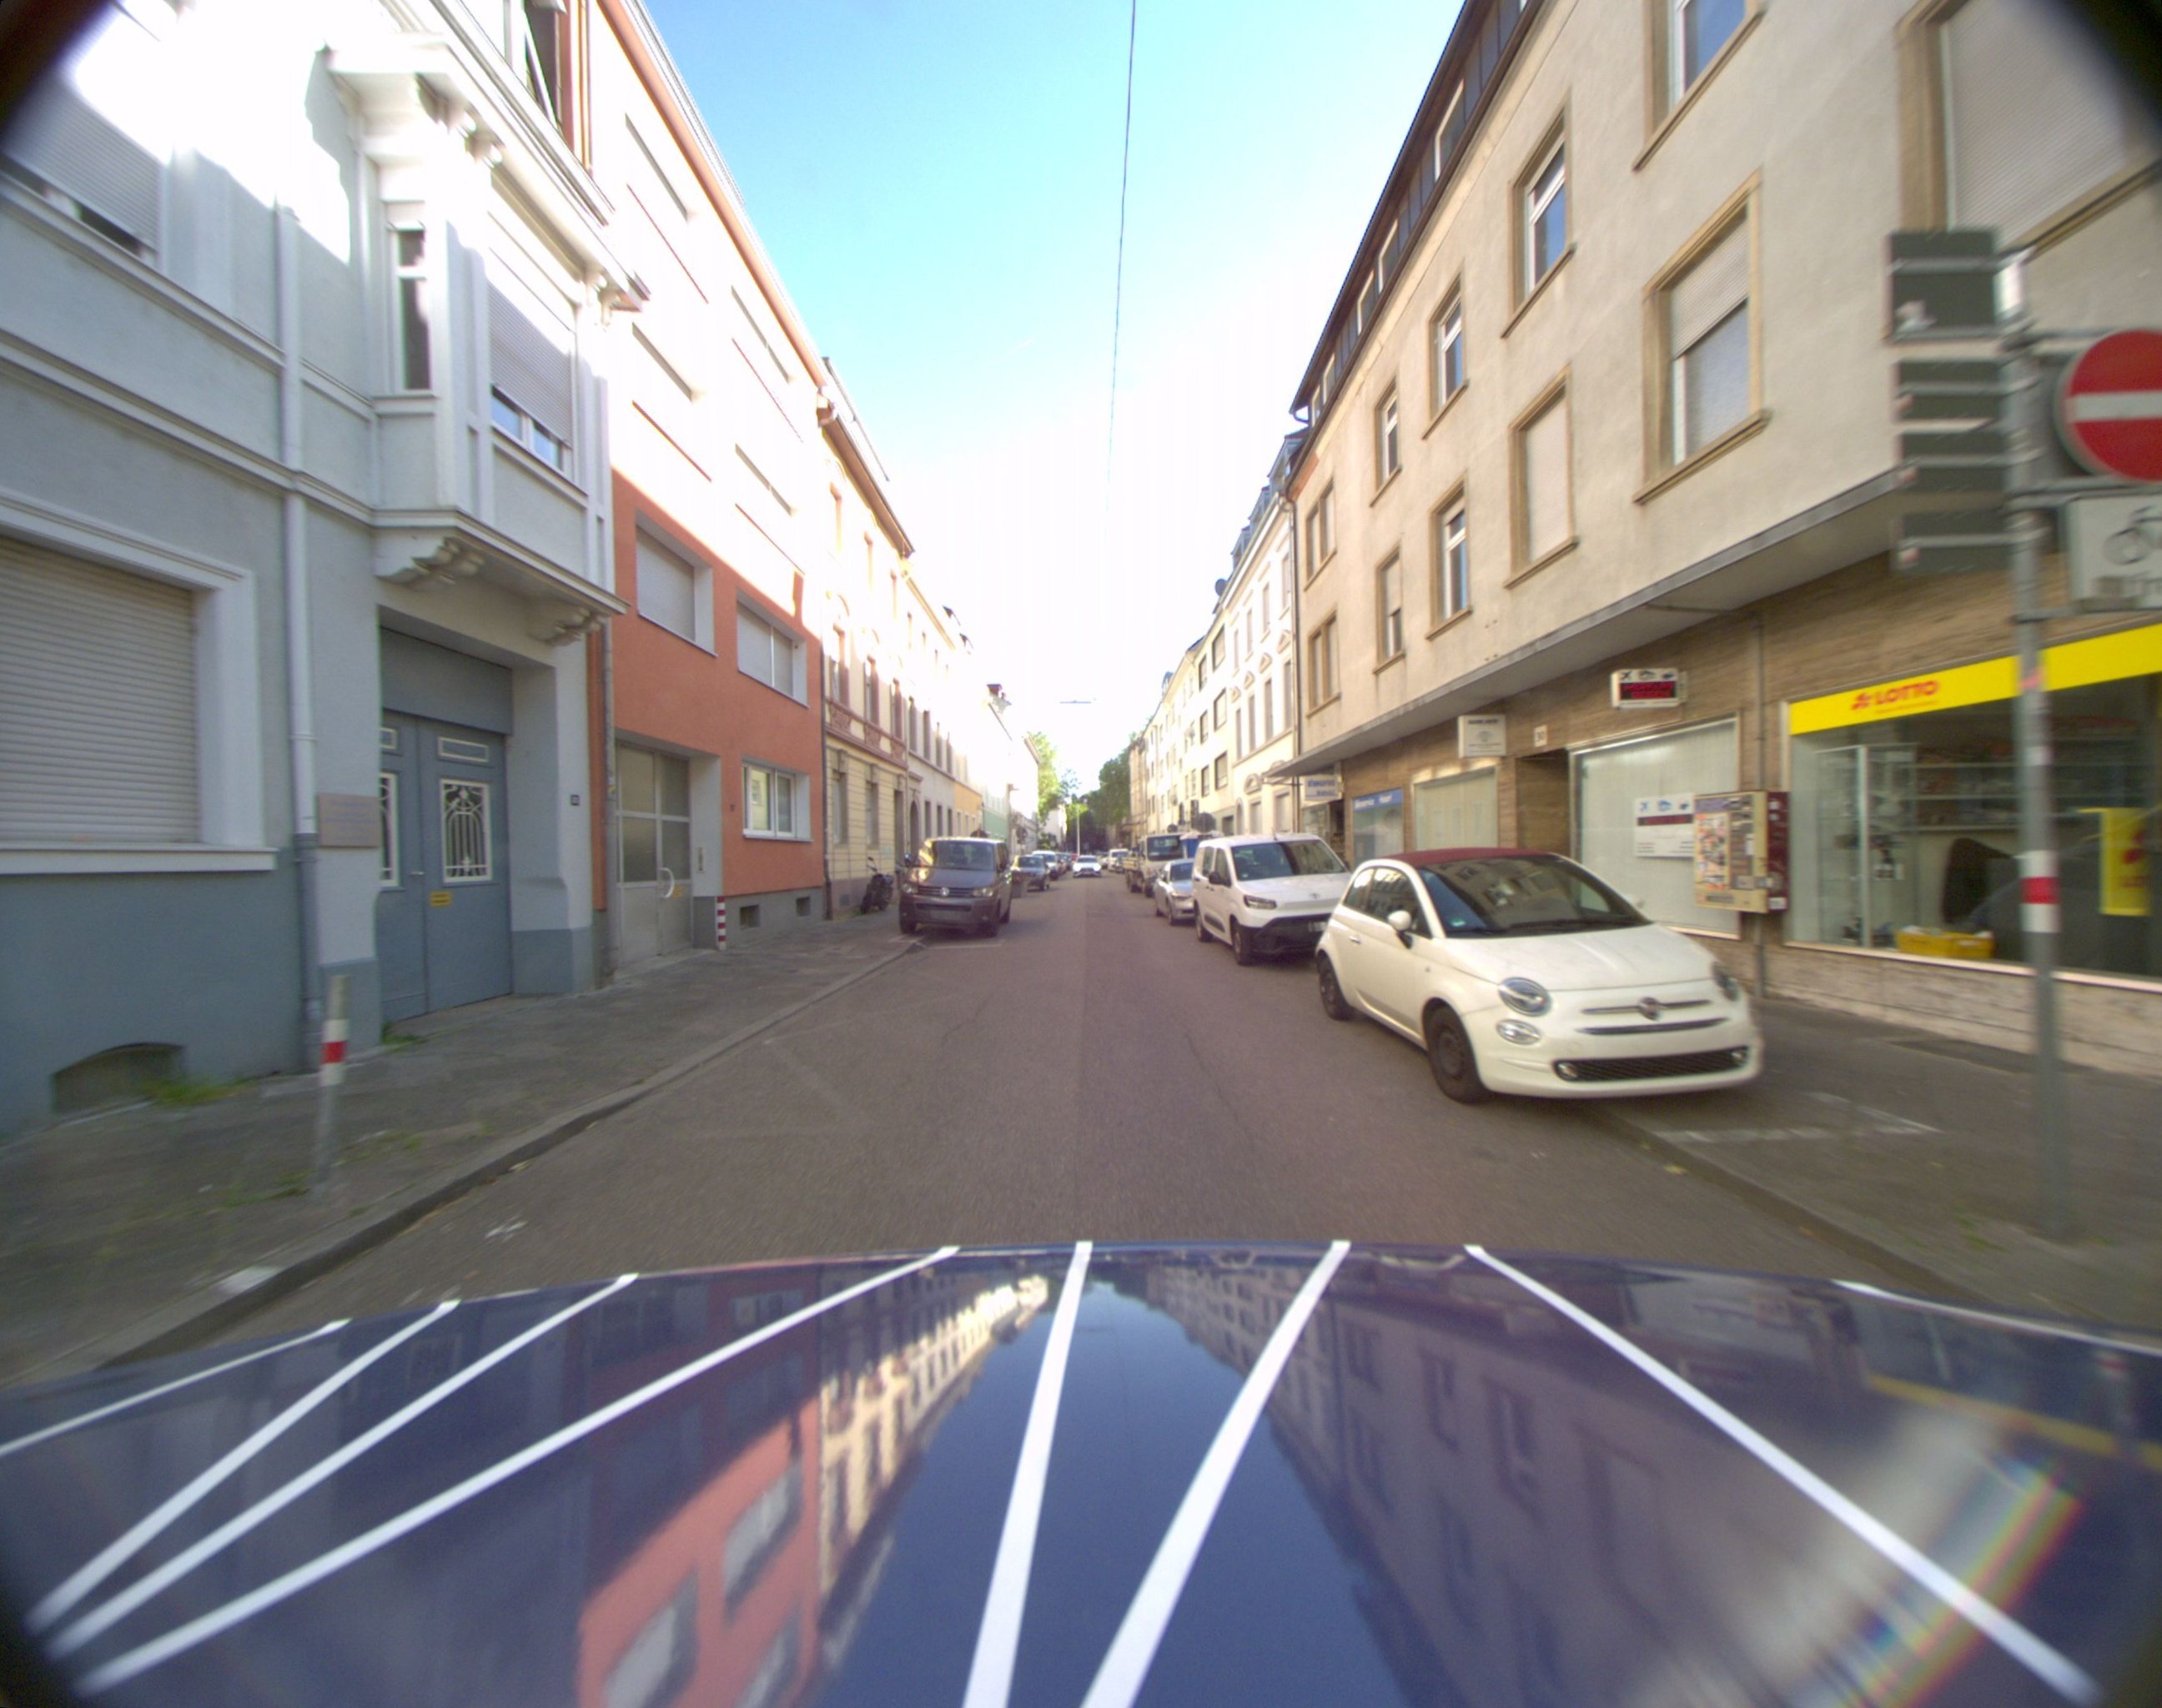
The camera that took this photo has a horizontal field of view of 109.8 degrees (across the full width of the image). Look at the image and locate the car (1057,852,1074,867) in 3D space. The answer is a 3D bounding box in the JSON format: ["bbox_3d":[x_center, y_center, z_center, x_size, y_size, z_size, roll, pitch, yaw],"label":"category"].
[{"bbox_3d":[-1.560,0.538,77.733,1.588,1.409,3.557,-1,1,1],"label":"car"}]

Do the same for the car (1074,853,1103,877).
[{"bbox_3d":[0.514,0.680,50.467,1.761,1.399,4.021,-1,1,1],"label":"car"}]

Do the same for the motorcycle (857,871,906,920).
[{"bbox_3d":[-5.056,1.023,19.415,0.638,1.038,2.362,-1,1,-1],"label":"motorcycle"}]

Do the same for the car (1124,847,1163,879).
[{"bbox_3d":[3.693,0.508,45.505,1.759,1.760,4.177,0,1,-4],"label":"car"}]

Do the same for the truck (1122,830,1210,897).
[{"bbox_3d":[3.076,0.252,29.164,2.171,2.296,6.344,0,1,-5],"label":"truck"}]

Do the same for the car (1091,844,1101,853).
[{"bbox_3d":[2.994,-1.206,156.086,1.985,1.674,4.021,-1,1,1],"label":"car"}]

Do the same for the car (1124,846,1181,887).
[{"bbox_3d":[3.435,0.532,37.459,1.918,1.871,5.182,1,1,-4],"label":"car"}]

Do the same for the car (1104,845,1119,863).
[{"bbox_3d":[3.475,0.006,86.753,1.585,1.971,4.067,-1,1,1],"label":"car"}]

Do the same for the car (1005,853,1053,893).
[{"bbox_3d":[-2.257,0.790,34.010,1.744,1.534,4.050,-1,1,1],"label":"car"}]

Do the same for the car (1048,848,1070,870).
[{"bbox_3d":[-1.793,0.377,62.087,1.604,1.772,3.759,-1,1,1],"label":"car"}]

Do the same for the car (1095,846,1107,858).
[{"bbox_3d":[3.049,-0.270,116.400,1.786,1.674,4.021,-1,1,1],"label":"car"}]

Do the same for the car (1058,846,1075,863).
[{"bbox_3d":[-1.652,0.057,89.087,1.786,1.867,4.021,-1,1,1],"label":"car"}]

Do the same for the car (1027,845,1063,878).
[{"bbox_3d":[-2.206,0.431,47.113,1.898,1.875,4.457,-1,1,1],"label":"car"}]

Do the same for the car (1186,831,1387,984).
[{"bbox_3d":[2.874,0.648,11.803,1.771,1.888,4.808,0,0,-1],"label":"car"}]

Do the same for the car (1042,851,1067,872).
[{"bbox_3d":[-1.938,0.531,56.392,1.578,1.460,3.869,-1,-1,1],"label":"car"}]

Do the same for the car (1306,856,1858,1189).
[{"bbox_3d":[3.006,0.840,5.586,1.671,1.551,3.722,-1,1,2],"label":"car"}]

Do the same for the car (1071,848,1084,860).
[{"bbox_3d":[-0.467,0.042,110.176,1.857,1.620,4.072,-1,1,1],"label":"car"}]

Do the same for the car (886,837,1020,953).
[{"bbox_3d":[-2.537,0.726,16.337,1.975,2.017,4.898,-3,1,0],"label":"car"}]

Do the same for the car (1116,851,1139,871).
[{"bbox_3d":[3.679,0.515,60.555,1.730,1.484,4.115,-2,0,2],"label":"car"}]

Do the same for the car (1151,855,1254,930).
[{"bbox_3d":[2.698,0.793,17.809,1.669,1.514,4.488,0,0,0],"label":"car"}]

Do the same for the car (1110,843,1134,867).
[{"bbox_3d":[3.547,0.050,67.055,1.913,2.076,4.696,-1,1,1],"label":"car"}]
